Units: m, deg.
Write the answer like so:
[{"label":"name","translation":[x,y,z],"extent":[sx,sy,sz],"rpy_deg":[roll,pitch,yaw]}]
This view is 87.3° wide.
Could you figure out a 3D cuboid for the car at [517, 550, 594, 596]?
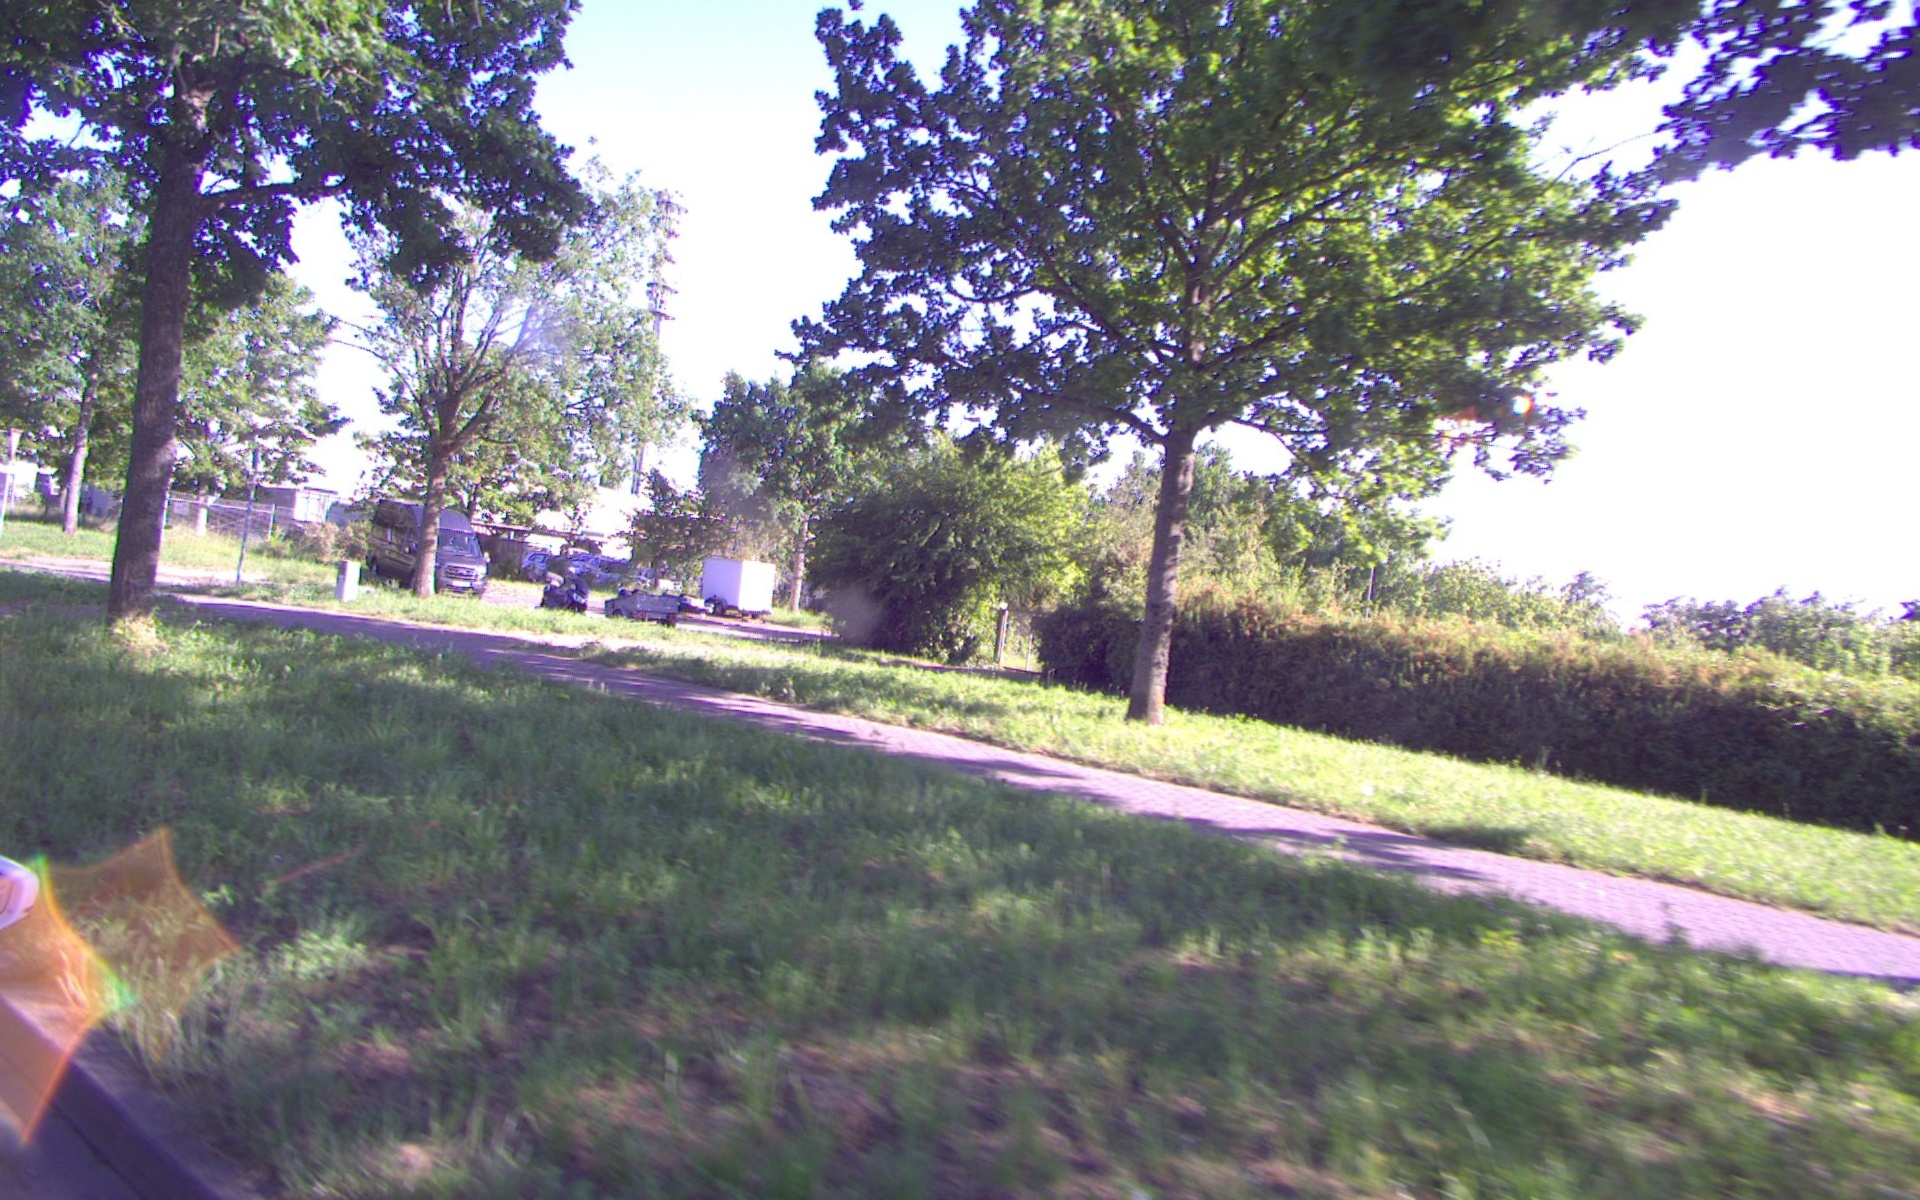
[{"label":"car","translation":[-18.656,-1.252,46.371],"extent":[1.830,1.660,3.950],"rpy_deg":[7,0,-44]}]

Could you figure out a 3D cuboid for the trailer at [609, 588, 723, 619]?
[{"label":"trailer","translation":[-11.781,0.130,40.184],"extent":[4.756,0.659,2.224],"rpy_deg":[7,-1,43]}]

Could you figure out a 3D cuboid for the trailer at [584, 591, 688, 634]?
[{"label":"trailer","translation":[-7.881,0.305,24.436],"extent":[2.028,0.878,1.576],"rpy_deg":[2,-4,42]}]

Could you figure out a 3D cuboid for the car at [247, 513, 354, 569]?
[{"label":"car","translation":[-25.737,-2.314,39.238],"extent":[3.536,1.685,2.008],"rpy_deg":[7,0,30]}]

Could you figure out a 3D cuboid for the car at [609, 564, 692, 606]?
[{"label":"car","translation":[-15.654,-0.775,50.816],"extent":[3.940,1.612,1.993],"rpy_deg":[7,0,38]}]

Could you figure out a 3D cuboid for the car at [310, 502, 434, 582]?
[{"label":"car","translation":[-24.185,-2.411,41.353],"extent":[4.769,2.676,2.163],"rpy_deg":[7,0,30]}]

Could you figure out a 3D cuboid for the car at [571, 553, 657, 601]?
[{"label":"car","translation":[-16.829,-1.132,48.885],"extent":[3.940,1.846,1.993],"rpy_deg":[7,0,38]}]

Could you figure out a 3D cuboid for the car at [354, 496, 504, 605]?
[{"label":"car","translation":[-17.094,-1.652,32.206],"extent":[5.887,2.597,2.082],"rpy_deg":[11,1,42]}]

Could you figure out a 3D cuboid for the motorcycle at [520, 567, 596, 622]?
[{"label":"motorcycle","translation":[-9.897,-0.148,24.704],"extent":[2.375,1.245,0.661],"rpy_deg":[1,-3,42]}]

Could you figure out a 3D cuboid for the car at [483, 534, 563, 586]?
[{"label":"car","translation":[-24.476,-2.239,56.268],"extent":[4.942,2.087,2.083],"rpy_deg":[11,1,42]}]

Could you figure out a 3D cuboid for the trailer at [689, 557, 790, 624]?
[{"label":"trailer","translation":[-9.278,-0.422,42.220],"extent":[3.738,2.336,2.185],"rpy_deg":[7,0,42]}]

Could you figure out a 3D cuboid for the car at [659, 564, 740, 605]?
[{"label":"car","translation":[-13.517,-0.818,52.133],"extent":[3.940,1.612,1.993],"rpy_deg":[7,0,38]}]
